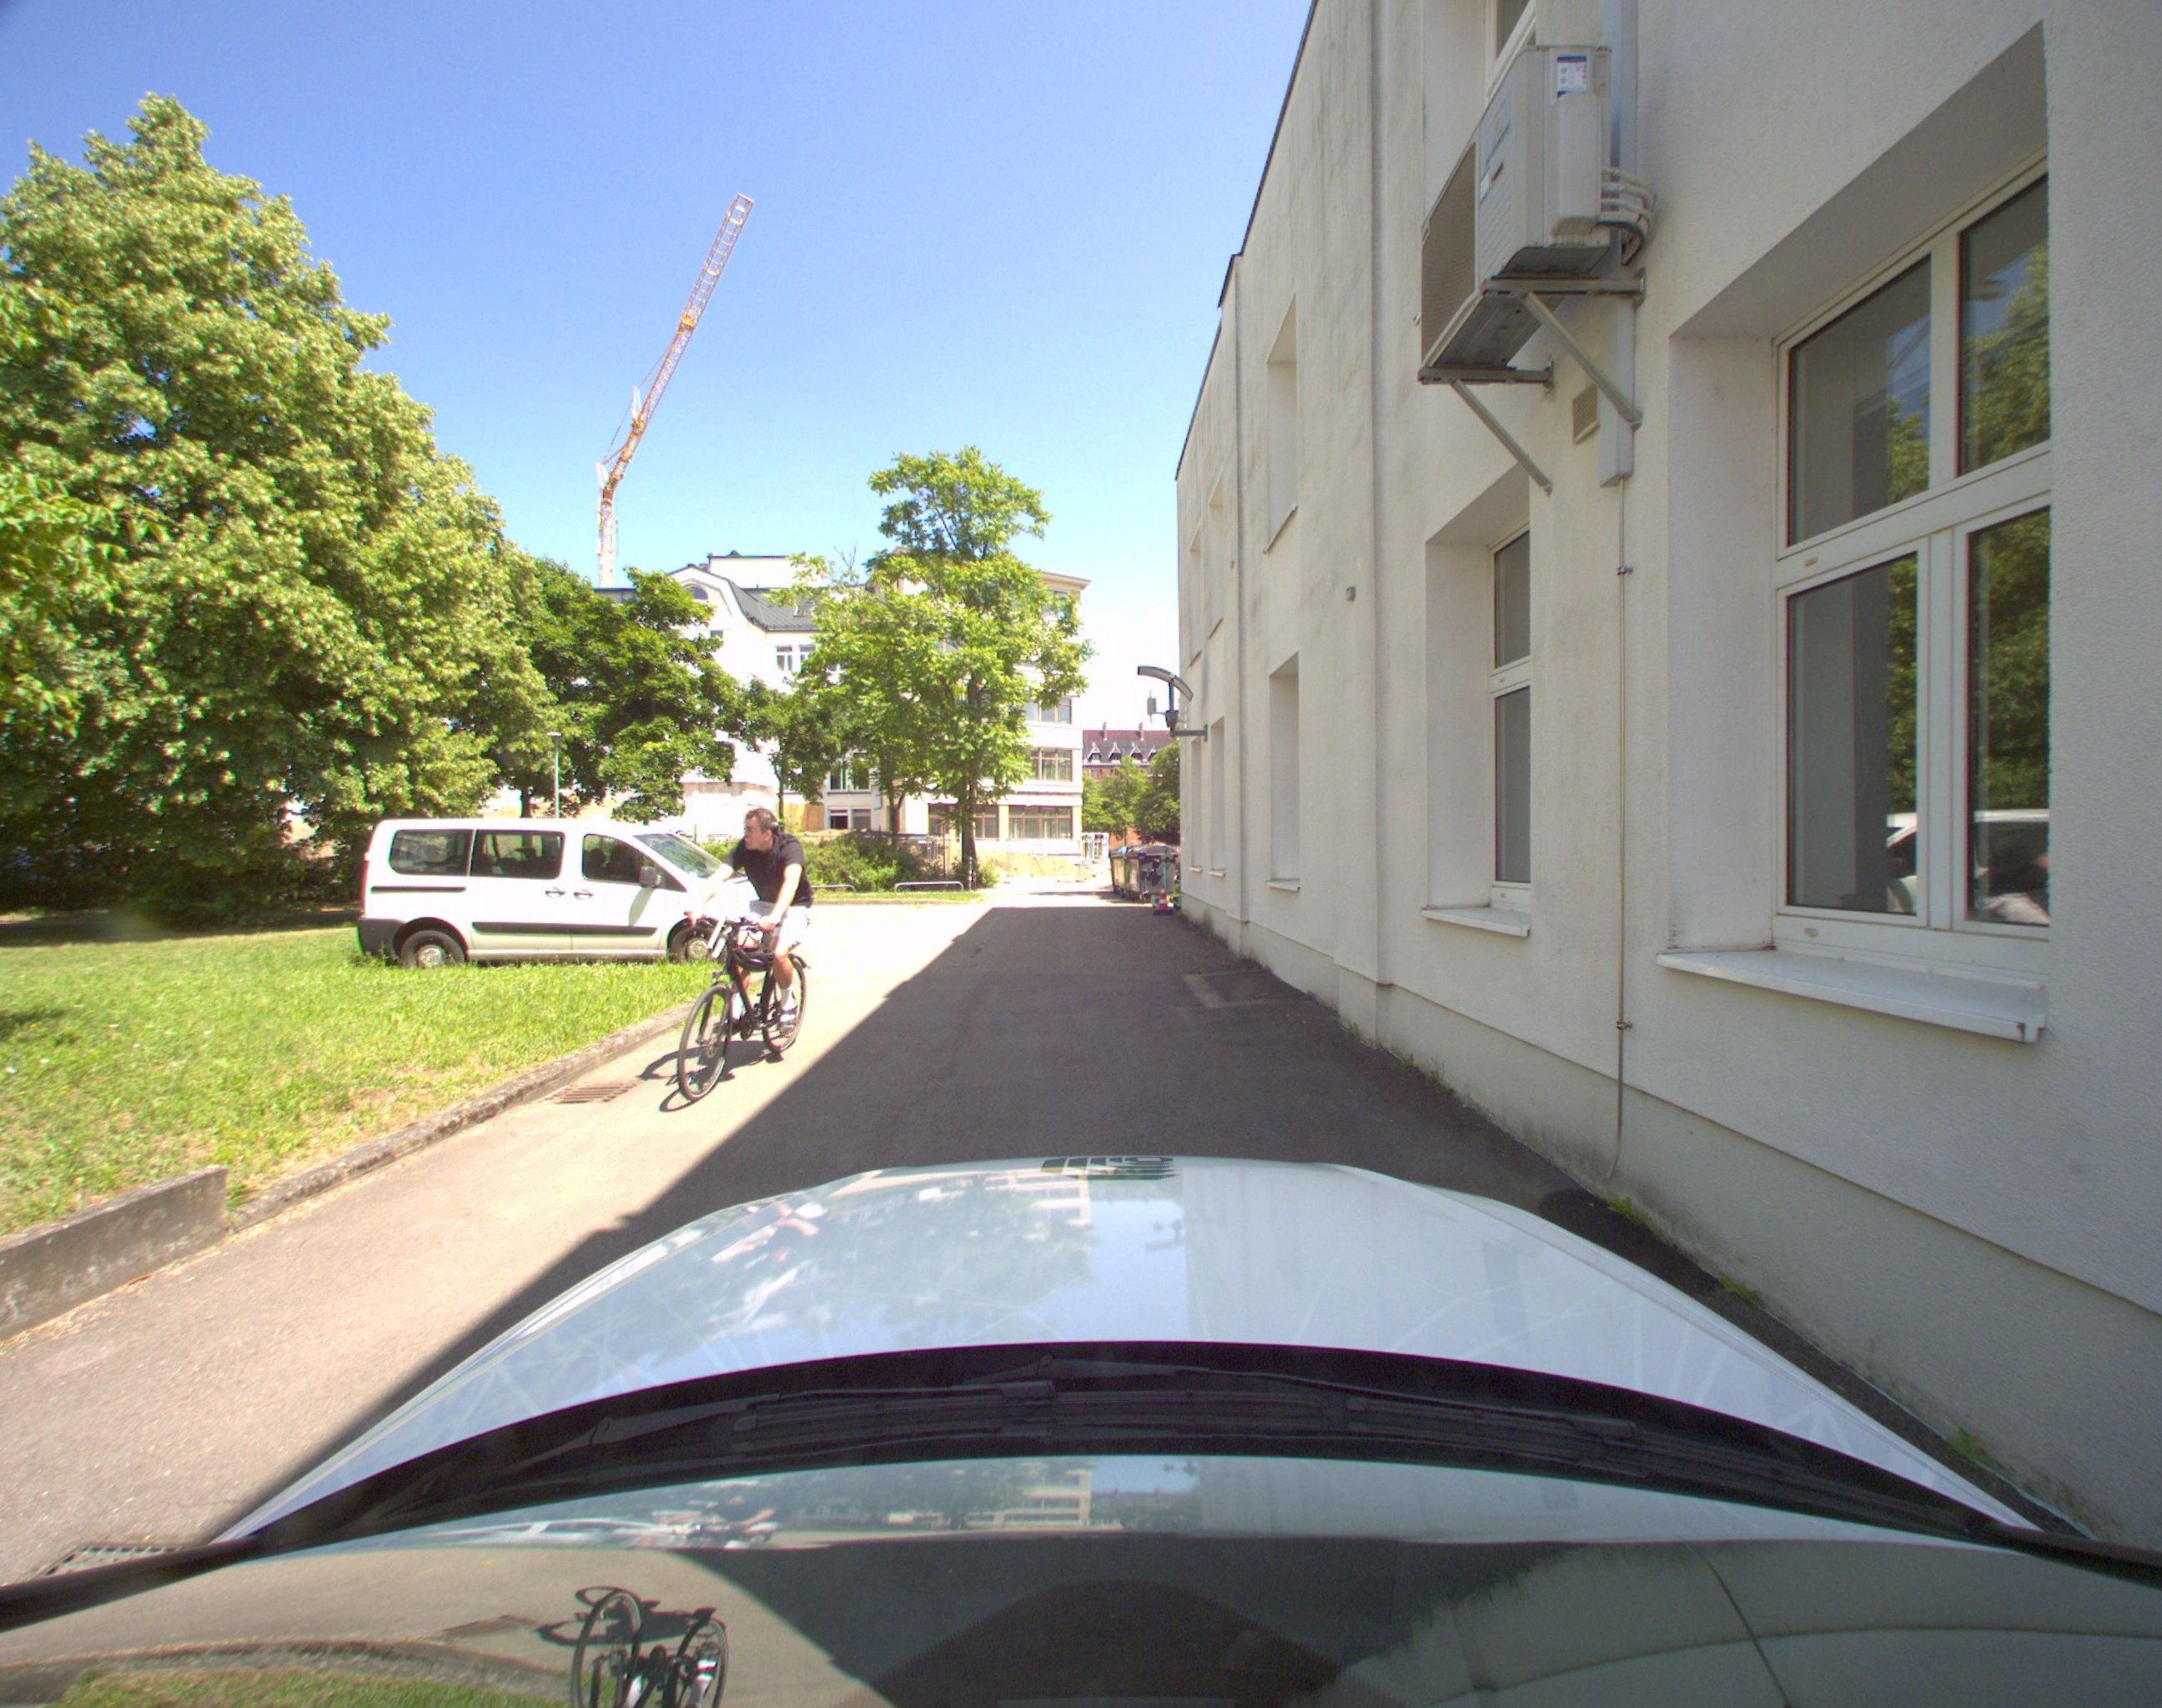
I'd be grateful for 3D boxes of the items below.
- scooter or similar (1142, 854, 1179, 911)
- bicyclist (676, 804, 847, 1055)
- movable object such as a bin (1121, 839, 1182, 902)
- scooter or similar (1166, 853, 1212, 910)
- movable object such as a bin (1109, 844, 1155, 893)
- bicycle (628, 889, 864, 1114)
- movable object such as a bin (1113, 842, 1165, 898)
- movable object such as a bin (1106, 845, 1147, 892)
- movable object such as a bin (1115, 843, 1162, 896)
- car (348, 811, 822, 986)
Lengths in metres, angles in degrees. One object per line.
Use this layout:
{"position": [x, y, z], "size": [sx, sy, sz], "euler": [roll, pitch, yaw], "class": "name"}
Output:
{"position": [1.698, 0.585, 17.550], "size": [0.463, 1.174, 1.353], "euler": [-1, 0, -9], "class": "scooter or similar"}
{"position": [-2.207, 0.476, 5.744], "size": [0.719, 1.609, 0.980], "euler": [0, 1, 7], "class": "bicyclist"}
{"position": [1.733, 0.399, 20.283], "size": [1.155, 1.505, 1.457], "euler": [0, -1, -10], "class": "movable object such as a bin"}
{"position": [2.306, 0.573, 17.472], "size": [0.465, 1.174, 1.248], "euler": [-1, 0, -18], "class": "scooter or similar"}
{"position": [1.536, 0.437, 24.837], "size": [1.177, 1.470, 1.308], "euler": [0, -1, -7], "class": "movable object such as a bin"}
{"position": [-2.215, 0.902, 5.713], "size": [0.640, 1.174, 1.909], "euler": [0, 2, 7], "class": "bicycle"}
{"position": [1.555, 0.430, 22.012], "size": [1.178, 1.470, 1.308], "euler": [0, -1, -7], "class": "movable object such as a bin"}
{"position": [1.493, 0.477, 26.375], "size": [1.171, 1.470, 1.337], "euler": [0, -1, 10], "class": "movable object such as a bin"}
{"position": [1.634, 0.449, 23.399], "size": [1.177, 1.470, 1.309], "euler": [0, -1, -5], "class": "movable object such as a bin"}
{"position": [-6.058, 0.484, 10.558], "size": [4.783, 1.911, 1.996], "euler": [-1, 0, -7], "class": "car"}
